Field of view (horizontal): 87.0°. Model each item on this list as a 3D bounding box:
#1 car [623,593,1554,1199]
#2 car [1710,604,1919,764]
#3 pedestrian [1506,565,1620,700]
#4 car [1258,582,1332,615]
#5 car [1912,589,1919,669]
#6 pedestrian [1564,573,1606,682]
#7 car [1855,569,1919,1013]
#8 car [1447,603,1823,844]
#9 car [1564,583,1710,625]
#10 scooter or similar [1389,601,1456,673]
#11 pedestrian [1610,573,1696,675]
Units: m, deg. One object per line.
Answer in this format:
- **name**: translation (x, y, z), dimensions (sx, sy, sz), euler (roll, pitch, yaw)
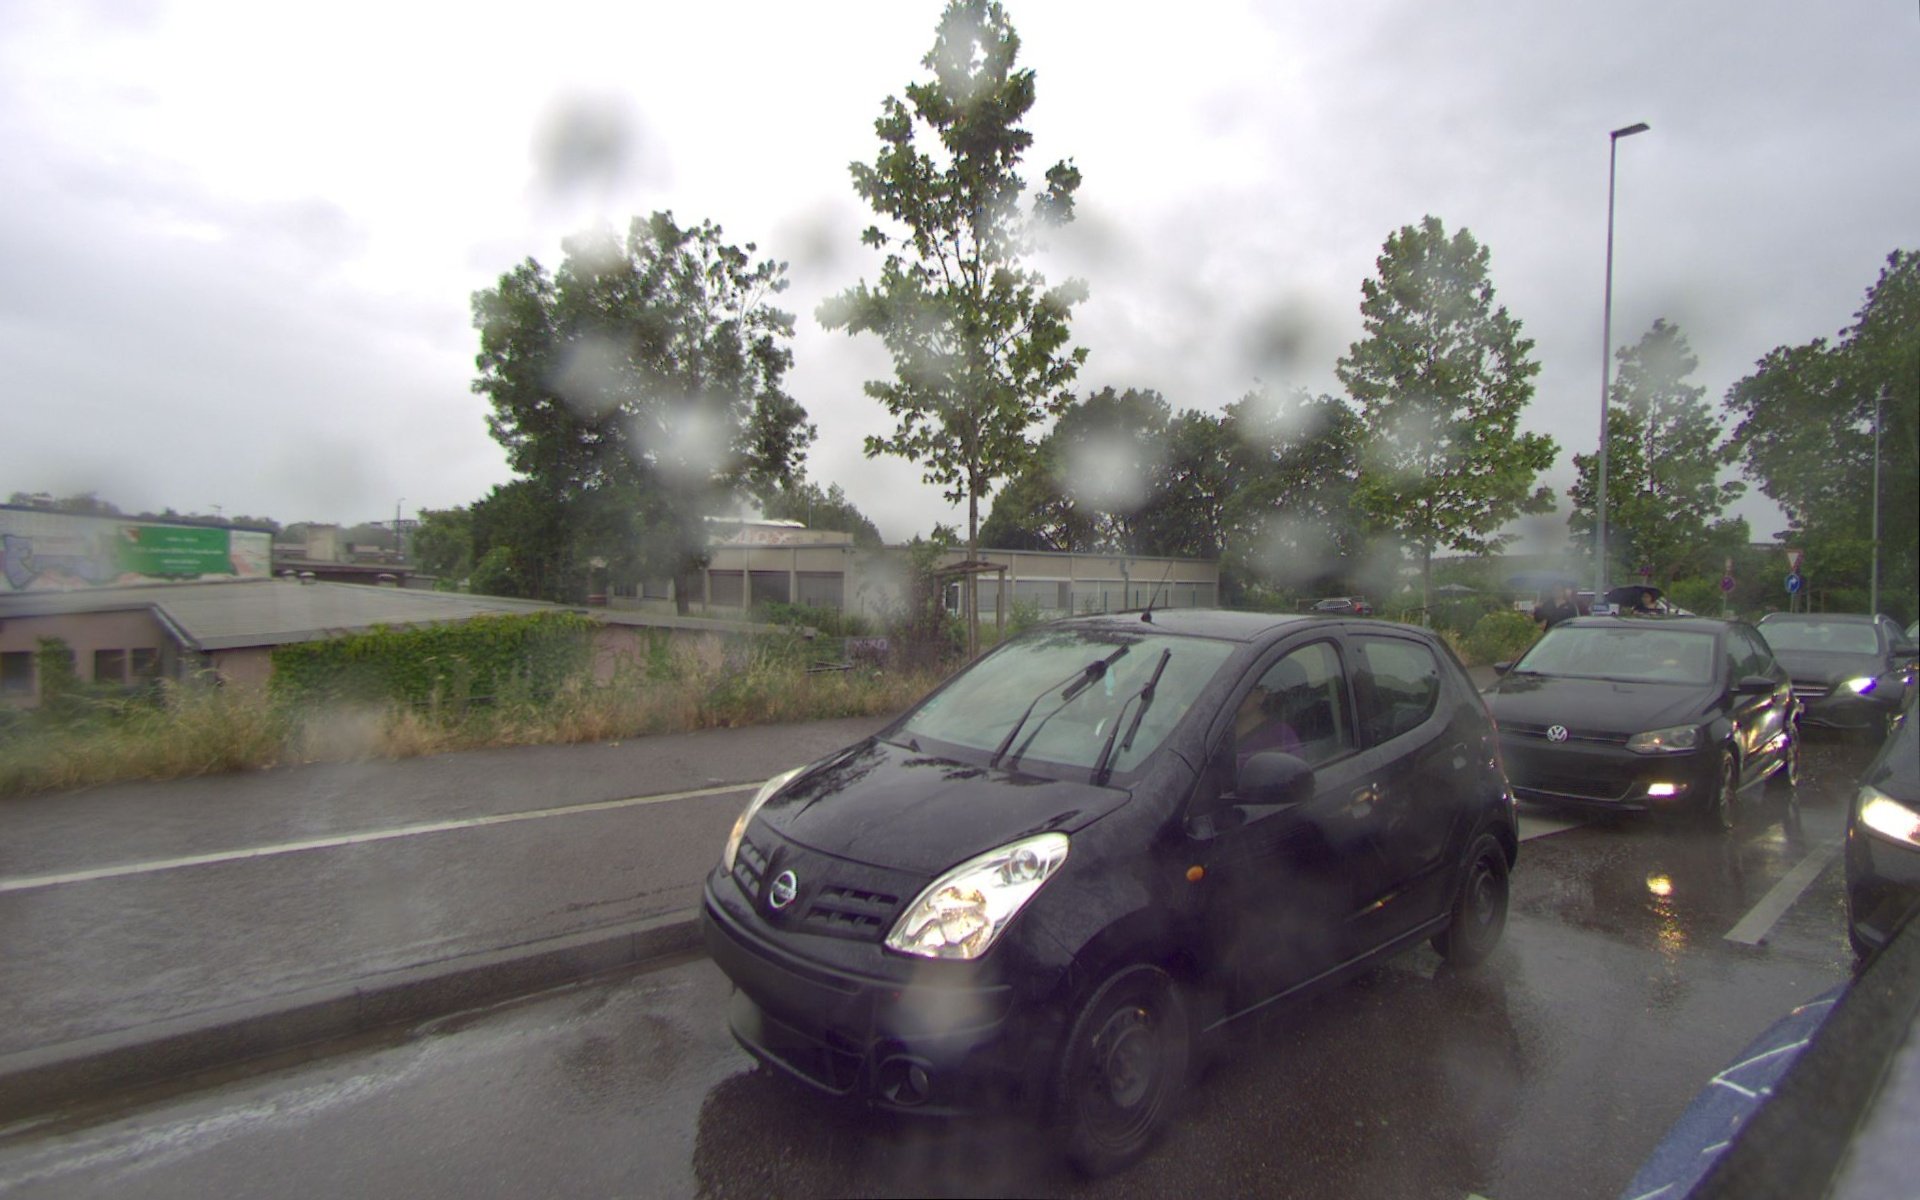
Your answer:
- **car**: translation (0.762, 0.714, 3.889), dimensions (3.561, 1.447, 1.631), euler (0, 0, -42)
- **car**: translation (10.701, 0.877, 12.368), dimensions (3.747, 1.594, 1.697), euler (-1, 0, -41)
- **pedestrian**: translation (8.439, 0.419, 14.177), dimensions (0.953, 1.777, 1.081), euler (0, 3, -42)
- **car**: translation (20.998, -0.108, 63.477), dimensions (1.964, 2.039, 3.996), euler (0, 0, -38)
- **car**: translation (19.806, 0.527, 19.583), dimensions (4.052, 1.488, 1.701), euler (-1, 1, -42)
- **pedestrian**: translation (9.892, 0.424, 16.018), dimensions (0.433, 1.682, 0.400), euler (0, 3, -42)
- **car**: translation (5.445, 0.672, 4.487), dimensions (4.091, 1.607, 1.688), euler (-1, 0, -41)
- **car**: translation (5.395, 0.758, 7.927), dimensions (3.561, 1.447, 1.631), euler (0, 0, -42)
- **car**: translation (28.227, 0.150, 42.309), dimensions (1.966, 1.670, 4.752), euler (-1, 1, -42)
- **scooter or similar**: translation (7.902, 0.612, 17.248), dimensions (1.747, 1.144, 0.380), euler (-1, 2, -43)
- **pedestrian**: translation (12.402, 0.405, 18.124), dimensions (0.876, 1.729, 1.024), euler (0, 3, -41)
